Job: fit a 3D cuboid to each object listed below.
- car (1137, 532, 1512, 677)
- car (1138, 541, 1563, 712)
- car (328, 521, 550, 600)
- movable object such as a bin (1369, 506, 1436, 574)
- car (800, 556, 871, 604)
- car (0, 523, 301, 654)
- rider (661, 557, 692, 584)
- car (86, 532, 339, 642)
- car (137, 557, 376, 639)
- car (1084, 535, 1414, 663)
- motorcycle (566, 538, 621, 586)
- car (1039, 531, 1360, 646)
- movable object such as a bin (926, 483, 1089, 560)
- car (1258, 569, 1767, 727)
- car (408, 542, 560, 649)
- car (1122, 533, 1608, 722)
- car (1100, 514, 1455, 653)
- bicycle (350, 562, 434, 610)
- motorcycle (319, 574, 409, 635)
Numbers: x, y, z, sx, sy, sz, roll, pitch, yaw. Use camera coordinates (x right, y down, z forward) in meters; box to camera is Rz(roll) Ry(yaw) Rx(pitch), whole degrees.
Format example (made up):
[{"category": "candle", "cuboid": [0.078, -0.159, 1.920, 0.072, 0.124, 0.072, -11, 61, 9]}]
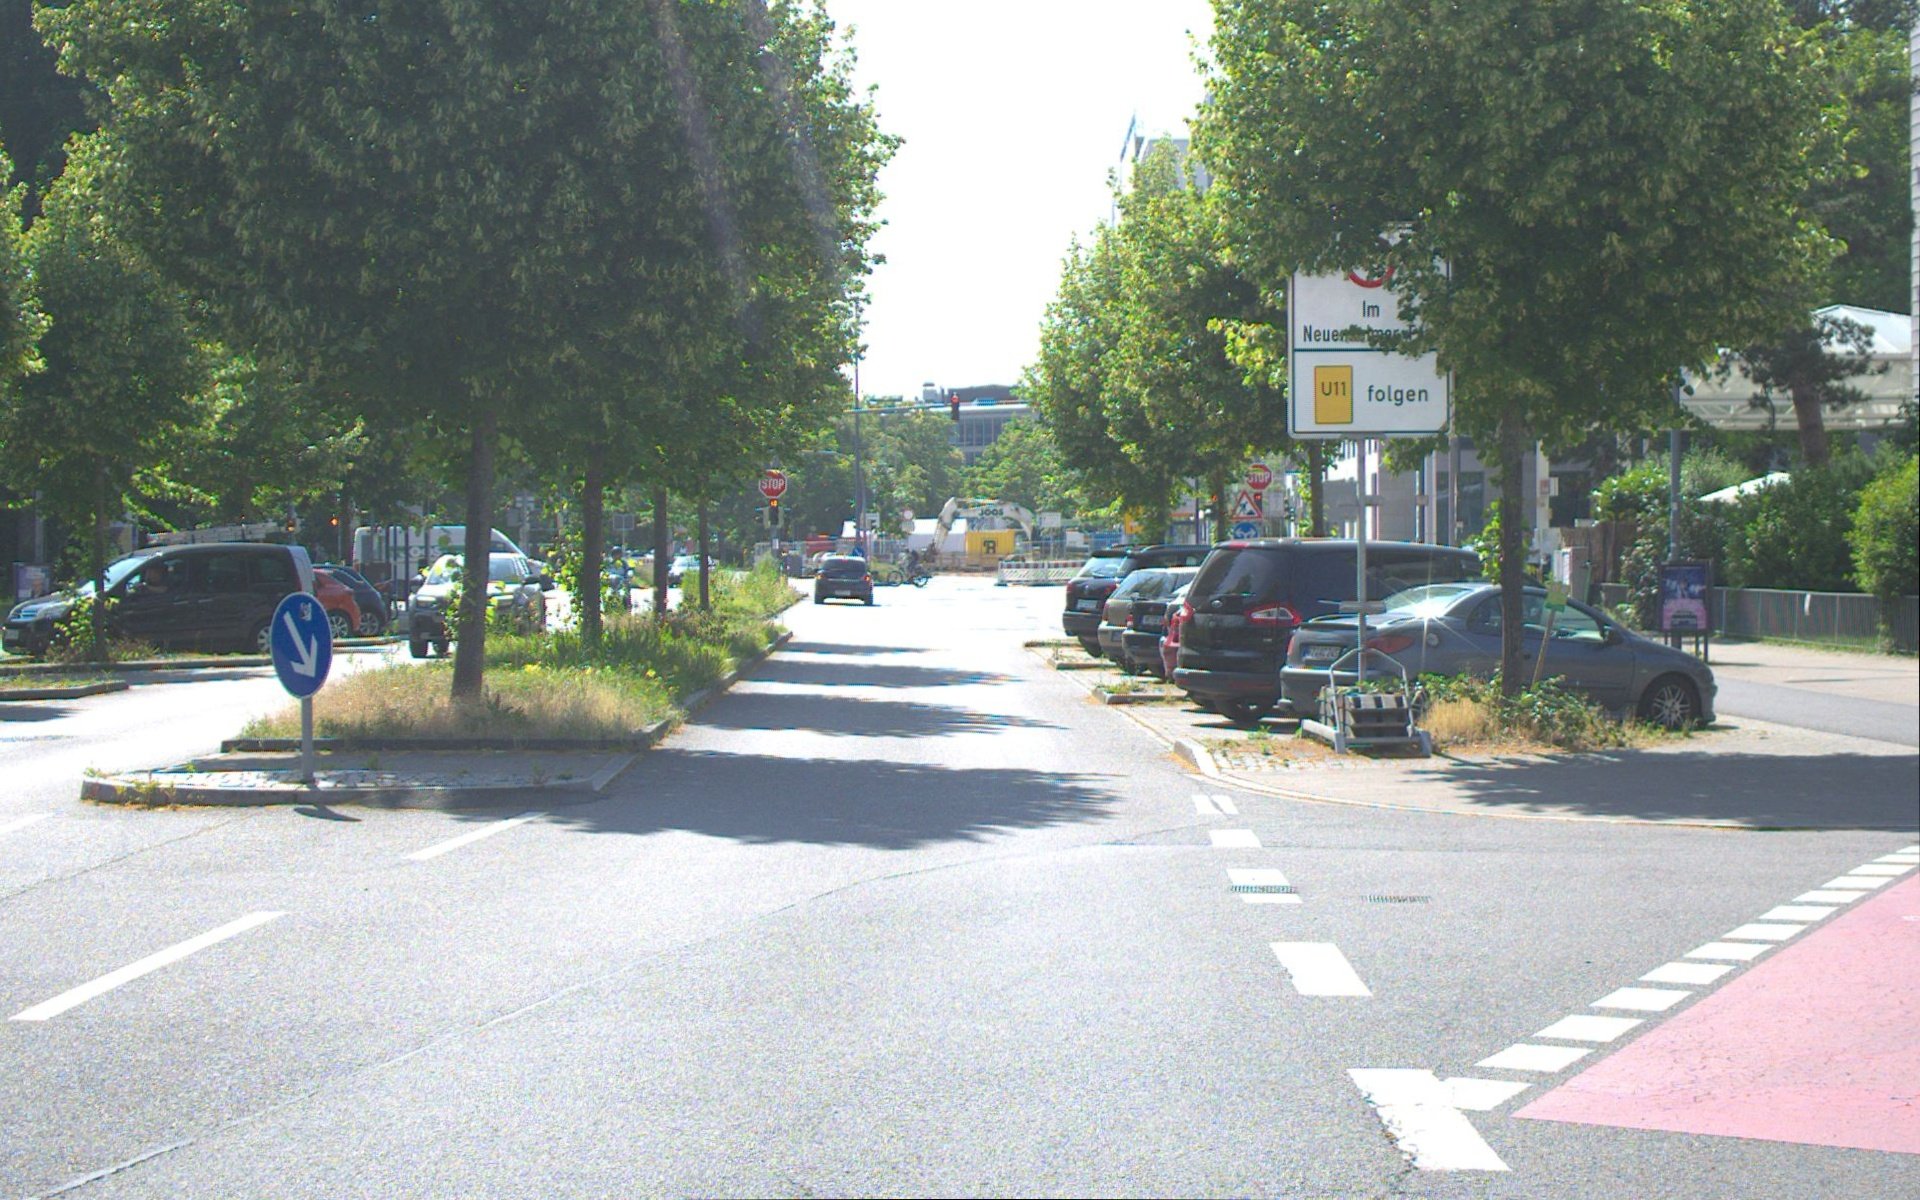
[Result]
[{"category": "car", "cuboid": [4.254, 0.022, 40.213, 3.986, 1.634, 1.801, 0, 1, -20]}, {"category": "car", "cuboid": [3.971, 0.255, 34.758, 3.987, 1.634, 1.880, 0, -1, -35]}, {"category": "car", "cuboid": [-18.119, -1.389, 119.900, 7.427, 2.665, 2.903, 0, 2, -4]}, {"category": "movable object such as a bin", "cuboid": [10.753, -1.462, 83.534, 1.307, 1.586, 1.396, -3, 1, -3]}, {"category": "car", "cuboid": [-3.756, -0.612, 103.297, 1.993, 1.393, 4.001, 0, 1, -4]}, {"category": "car", "cuboid": [-12.106, -0.204, 50.801, 4.176, 1.810, 2.004, -2, 2, -38]}, {"category": "rider", "cuboid": [-13.045, -1.362, 158.305, 1.391, 1.191, 2.698, 0, 1, -3]}, {"category": "car", "cuboid": [-12.354, -0.225, 56.812, 3.761, 1.766, 1.819, 0, 1, -26]}, {"category": "car", "cuboid": [-12.594, -0.062, 61.634, 3.831, 1.418, 1.715, 0, 1, -36]}, {"category": "car", "cuboid": [3.781, -0.038, 45.235, 3.986, 1.634, 1.753, 0, 1, -13]}, {"category": "motorcycle", "cuboid": [-7.744, -0.813, 72.783, 0.923, 0.989, 2.235, 0, 1, 0]}, {"category": "car", "cuboid": [3.606, -0.202, 51.348, 4.731, 1.654, 1.753, -1, 1, -35]}, {"category": "movable object such as a bin", "cuboid": [2.826, -4.707, 206.012, 9.675, 4.534, 3.164, 0, 1, 1]}, {"category": "car", "cuboid": [4.688, 0.367, 29.134, 3.986, 1.232, 1.753, 0, 1, -26]}, {"category": "car", "cuboid": [-7.259, -0.087, 52.729, 1.741, 1.542, 4.073, -1, 1, 0]}, {"category": "car", "cuboid": [3.747, 0.204, 31.612, 4.107, 1.634, 2.044, -1, 1, -34]}, {"category": "car", "cuboid": [3.910, -0.230, 42.371, 3.986, 1.634, 1.753, -1, 2, -23]}, {"category": "bicycle", "cuboid": [-13.301, -0.324, 80.507, 1.845, 1.118, 0.693, 0, 1, 0]}, {"category": "motorcycle", "cuboid": [-12.599, 0.090, 72.712, 1.845, 1.280, 0.693, 0, 1, -7]}]
